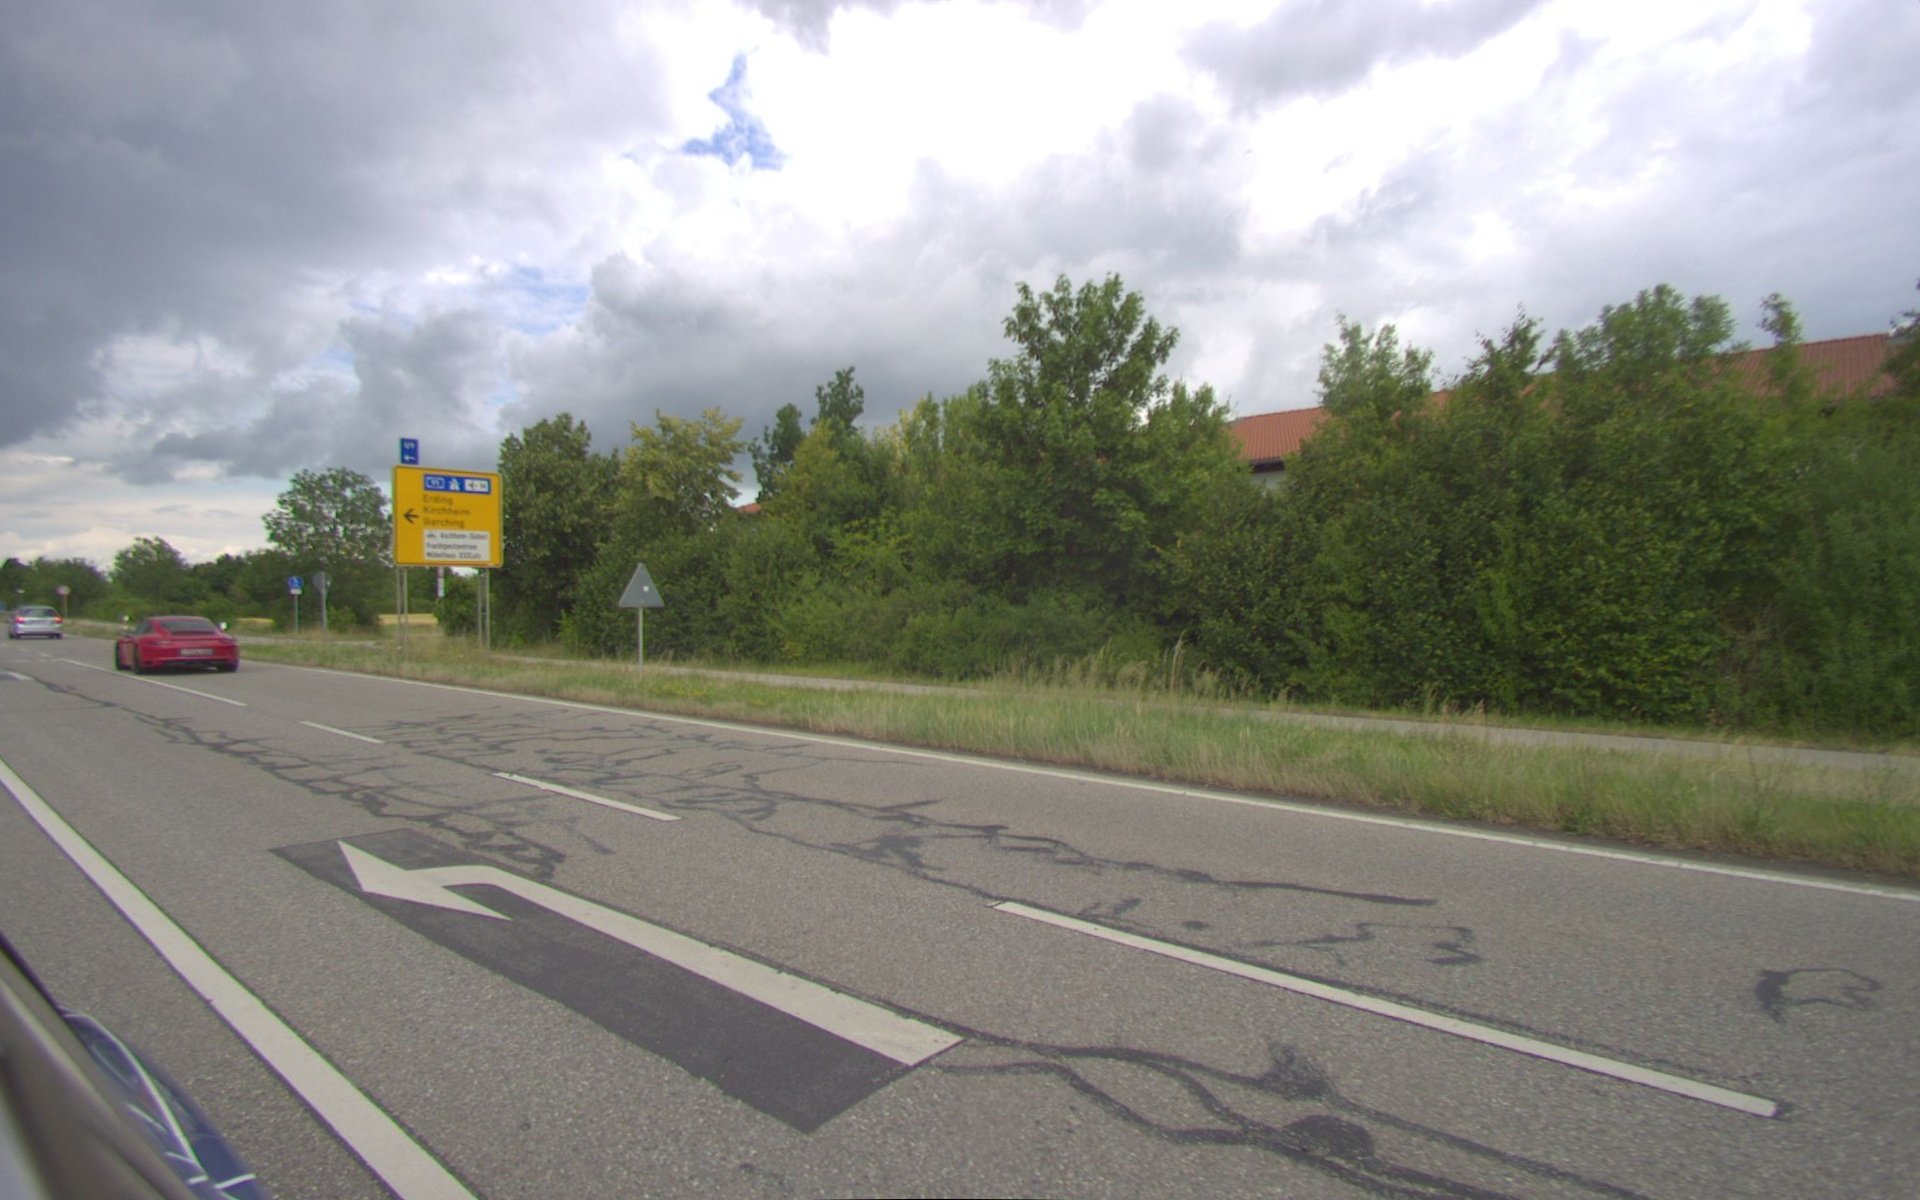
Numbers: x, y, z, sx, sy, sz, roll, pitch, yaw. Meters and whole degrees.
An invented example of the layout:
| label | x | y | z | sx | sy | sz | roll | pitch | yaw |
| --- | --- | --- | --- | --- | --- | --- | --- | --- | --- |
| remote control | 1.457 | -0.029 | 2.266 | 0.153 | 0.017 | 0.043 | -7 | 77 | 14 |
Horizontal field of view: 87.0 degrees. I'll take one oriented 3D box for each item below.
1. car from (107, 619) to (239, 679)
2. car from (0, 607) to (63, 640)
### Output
| label | x | y | z | sx | sy | sz | roll | pitch | yaw |
| --- | --- | --- | --- | --- | --- | --- | --- | --- | --- |
| car | -18.398 | 1.080 | 23.591 | 4.211 | 1.250 | 1.752 | -1 | -1 | 43 |
| car | -42.793 | 1.091 | 46.615 | 3.933 | 1.442 | 1.711 | -1 | -2 | 41 |
